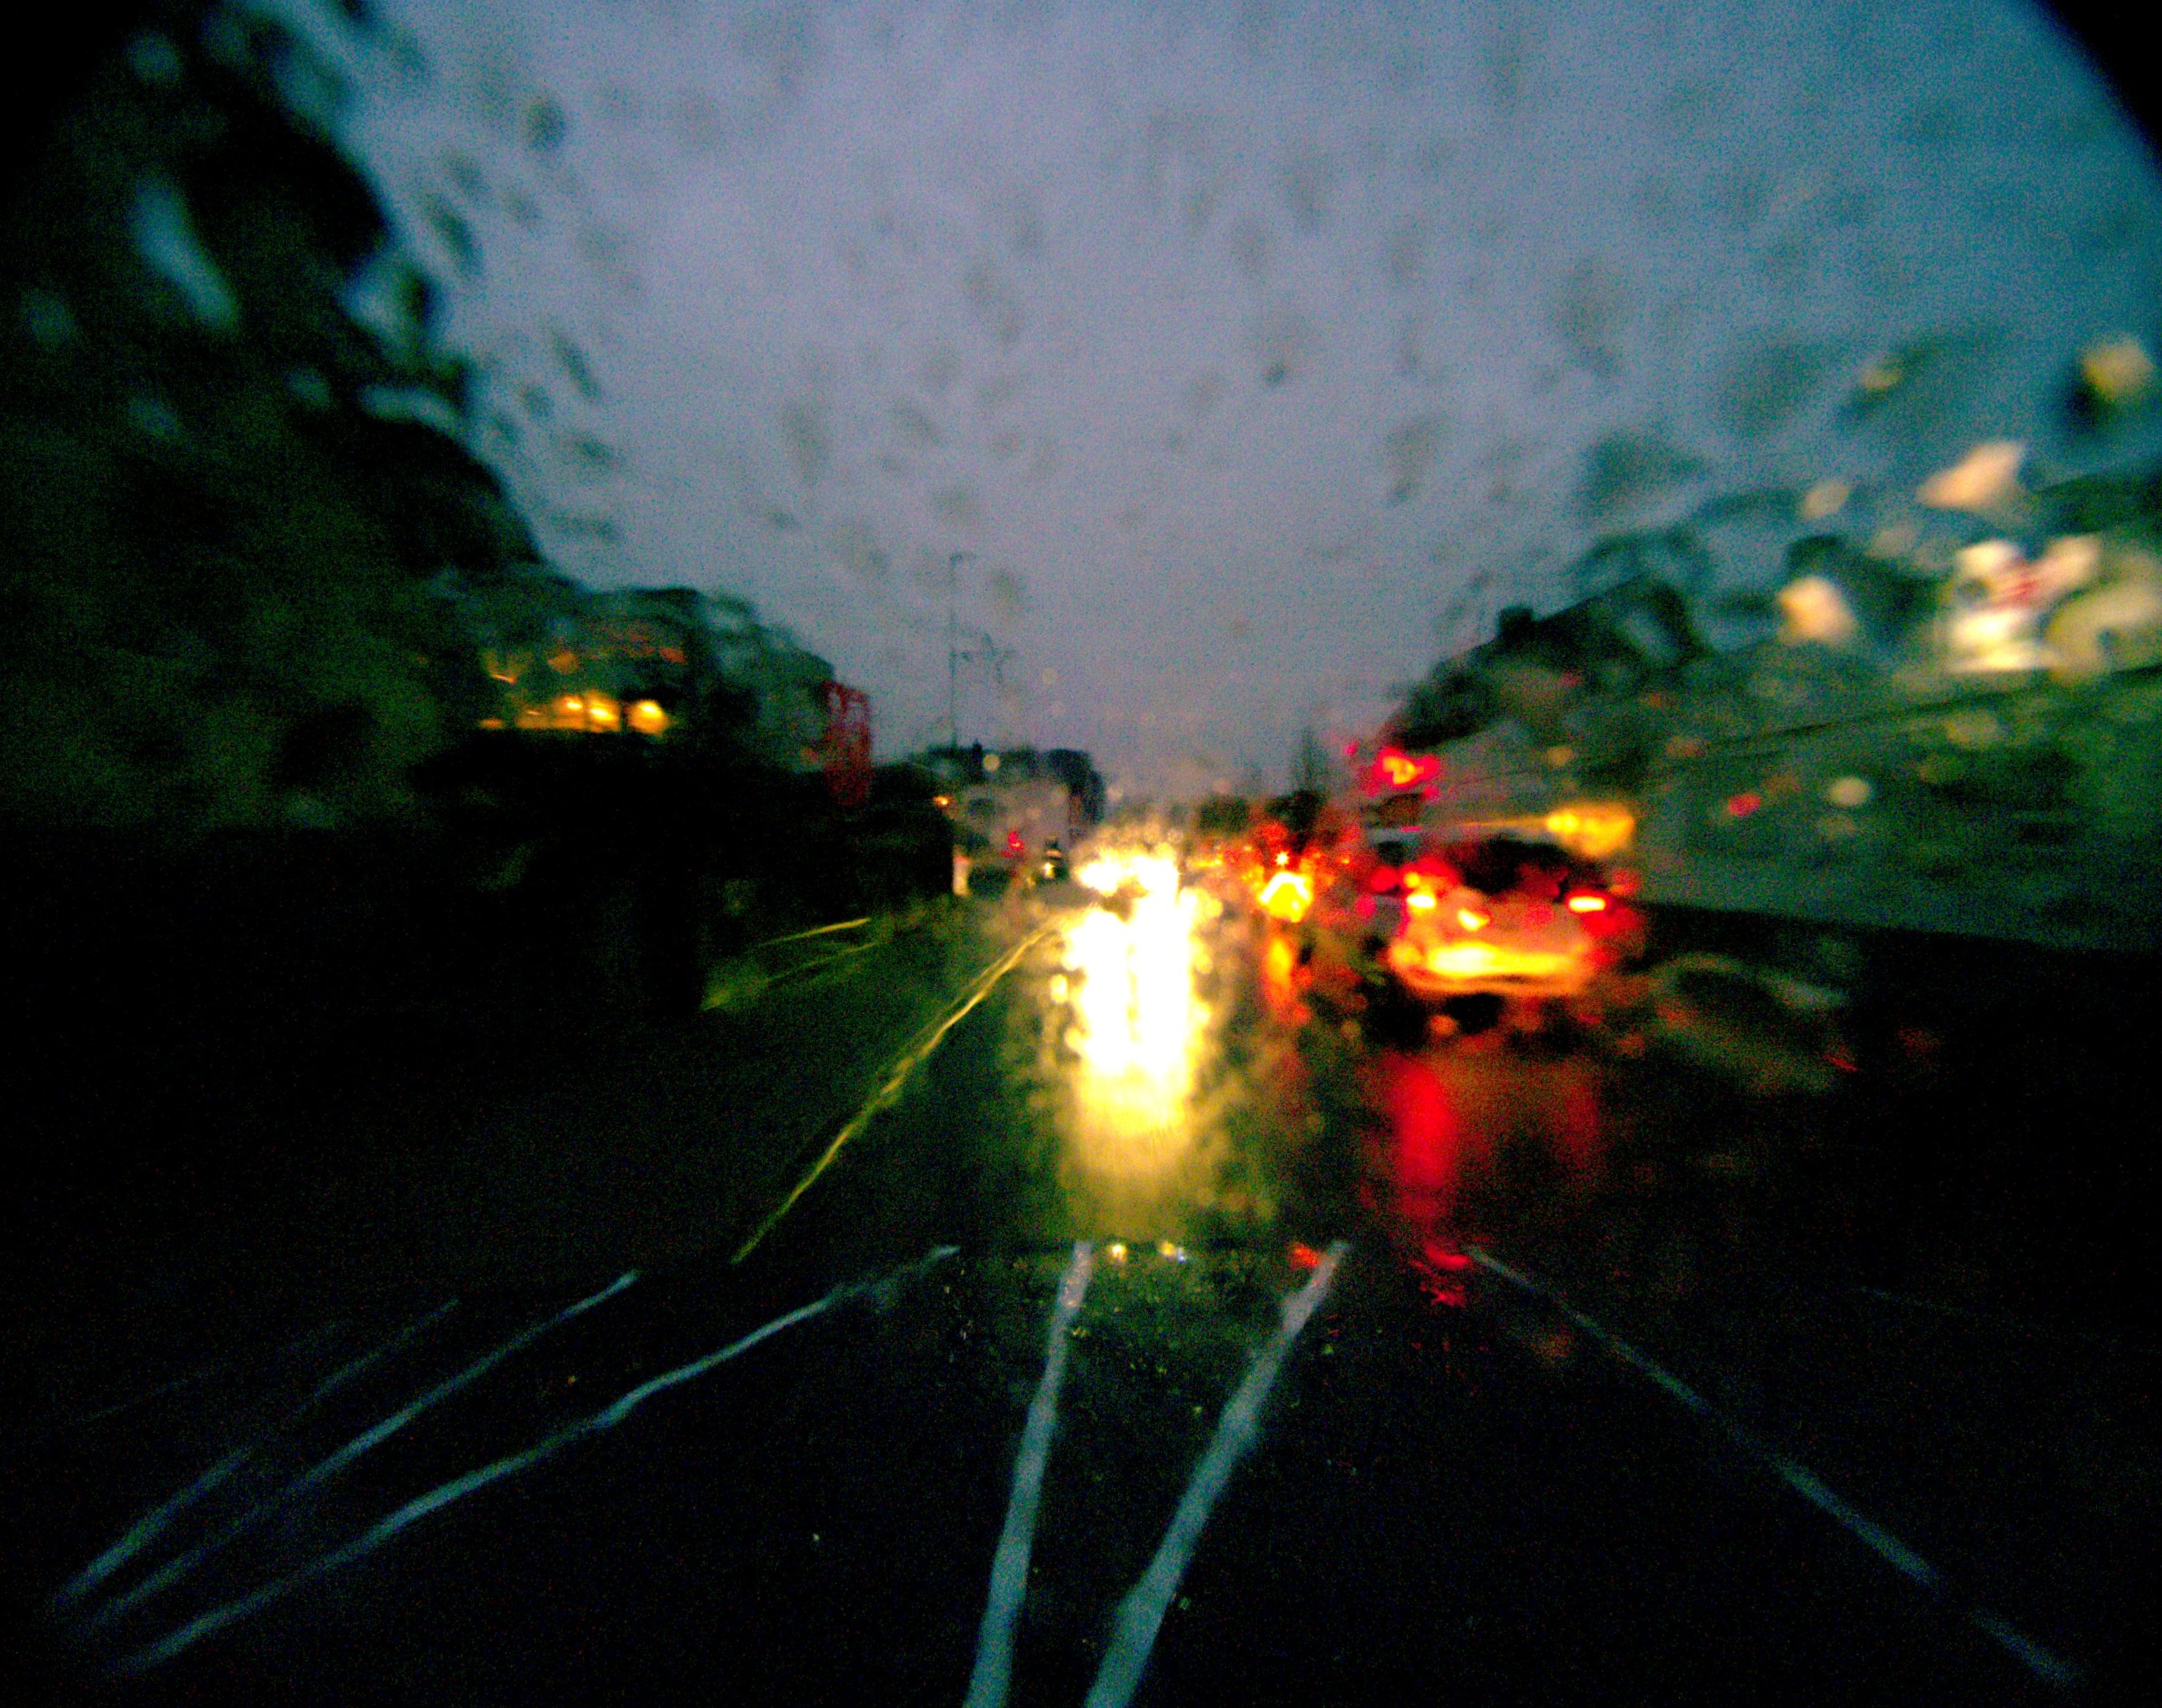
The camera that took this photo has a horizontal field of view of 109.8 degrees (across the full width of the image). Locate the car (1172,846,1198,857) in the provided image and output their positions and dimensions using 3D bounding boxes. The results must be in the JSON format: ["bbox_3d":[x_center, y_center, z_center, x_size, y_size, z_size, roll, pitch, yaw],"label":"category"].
[{"bbox_3d":[16.267,-0.335,118.425,3.838,1.537,2.001,-2,1,10],"label":"car"}]

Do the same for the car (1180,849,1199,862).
[{"bbox_3d":[13.314,0.144,93.584,1.840,1.526,4.139,-2,1,2],"label":"car"}]

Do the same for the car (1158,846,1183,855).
[{"bbox_3d":[14.686,-0.537,124.082,3.994,1.291,2.001,-2,1,8],"label":"car"}]

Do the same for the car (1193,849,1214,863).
[{"bbox_3d":[12.964,0.210,80.631,1.698,1.423,4.377,-2,0,3],"label":"car"}]

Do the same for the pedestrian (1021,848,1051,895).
[{"bbox_3d":[-1.674,0.639,28.337,0.837,1.695,0.846,1,1,16],"label":"pedestrian"}]

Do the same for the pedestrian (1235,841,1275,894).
[{"bbox_3d":[6.323,0.463,27.570,0.944,1.865,1.010,-2,1,-36],"label":"pedestrian"}]

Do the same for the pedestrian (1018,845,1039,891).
[{"bbox_3d":[-1.991,0.529,29.114,0.705,1.695,0.915,-1,1,0],"label":"pedestrian"}]

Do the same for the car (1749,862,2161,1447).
[{"bbox_3d":[3.844,0.838,1.184,1.862,1.547,4.257,0,1,0],"label":"car"}]

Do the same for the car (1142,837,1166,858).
[{"bbox_3d":[6.791,-0.635,71.078,1.998,1.844,4.000,-2,1,3],"label":"car"}]

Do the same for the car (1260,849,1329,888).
[{"bbox_3d":[9.185,0.580,33.054,1.998,1.514,4.979,-1,1,5],"label":"car"}]

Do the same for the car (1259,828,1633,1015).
[{"bbox_3d":[3.563,0.649,8.539,1.957,1.537,4.416,1,-2,-2],"label":"car"}]

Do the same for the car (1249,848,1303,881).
[{"bbox_3d":[10.082,0.523,39.703,1.998,1.549,4.622,-2,0,5],"label":"car"}]

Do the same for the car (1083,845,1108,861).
[{"bbox_3d":[1.608,-0.144,82.441,1.933,1.477,4.698,-3,1,9],"label":"car"}]

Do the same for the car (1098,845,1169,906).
[{"bbox_3d":[1.603,0.597,23.973,1.998,1.720,4.000,-2,1,2],"label":"car"}]

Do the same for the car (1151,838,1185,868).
[{"bbox_3d":[6.294,-0.097,55.420,1.998,2.002,3.999,-2,1,0],"label":"car"}]

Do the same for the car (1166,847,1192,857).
[{"bbox_3d":[15.614,-0.299,121.085,3.993,1.538,2.002,-2,1,13],"label":"car"}]

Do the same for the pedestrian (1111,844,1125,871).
[{"bbox_3d":[2.624,0.227,54.268,0.969,1.878,1.006,-2,1,2],"label":"pedestrian"}]

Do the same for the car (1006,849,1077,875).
[{"bbox_3d":[-2.352,0.450,45.902,3.994,1.478,1.913,0,2,8],"label":"car"}]

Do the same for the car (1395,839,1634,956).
[{"bbox_3d":[7.467,0.630,13.754,1.884,1.700,4.713,-2,1,4],"label":"car"}]

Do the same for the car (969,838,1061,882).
[{"bbox_3d":[-3.266,0.255,37.883,4.096,2.038,2.002,1,1,13],"label":"car"}]

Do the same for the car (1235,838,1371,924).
[{"bbox_3d":[5.138,0.603,18.366,1.998,1.695,4.968,-3,-1,3],"label":"car"}]

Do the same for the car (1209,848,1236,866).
[{"bbox_3d":[12.864,0.259,69.262,1.788,1.480,4.182,-2,1,3],"label":"car"}]

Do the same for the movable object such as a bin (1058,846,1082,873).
[{"bbox_3d":[-0.690,0.340,48.280,1.396,1.634,1.261,1,1,2],"label":"movable object such as a bin"}]

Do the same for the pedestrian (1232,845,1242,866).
[{"bbox_3d":[15.180,0.141,73.945,0.902,2.002,0.791,-1,1,5],"label":"pedestrian"}]
